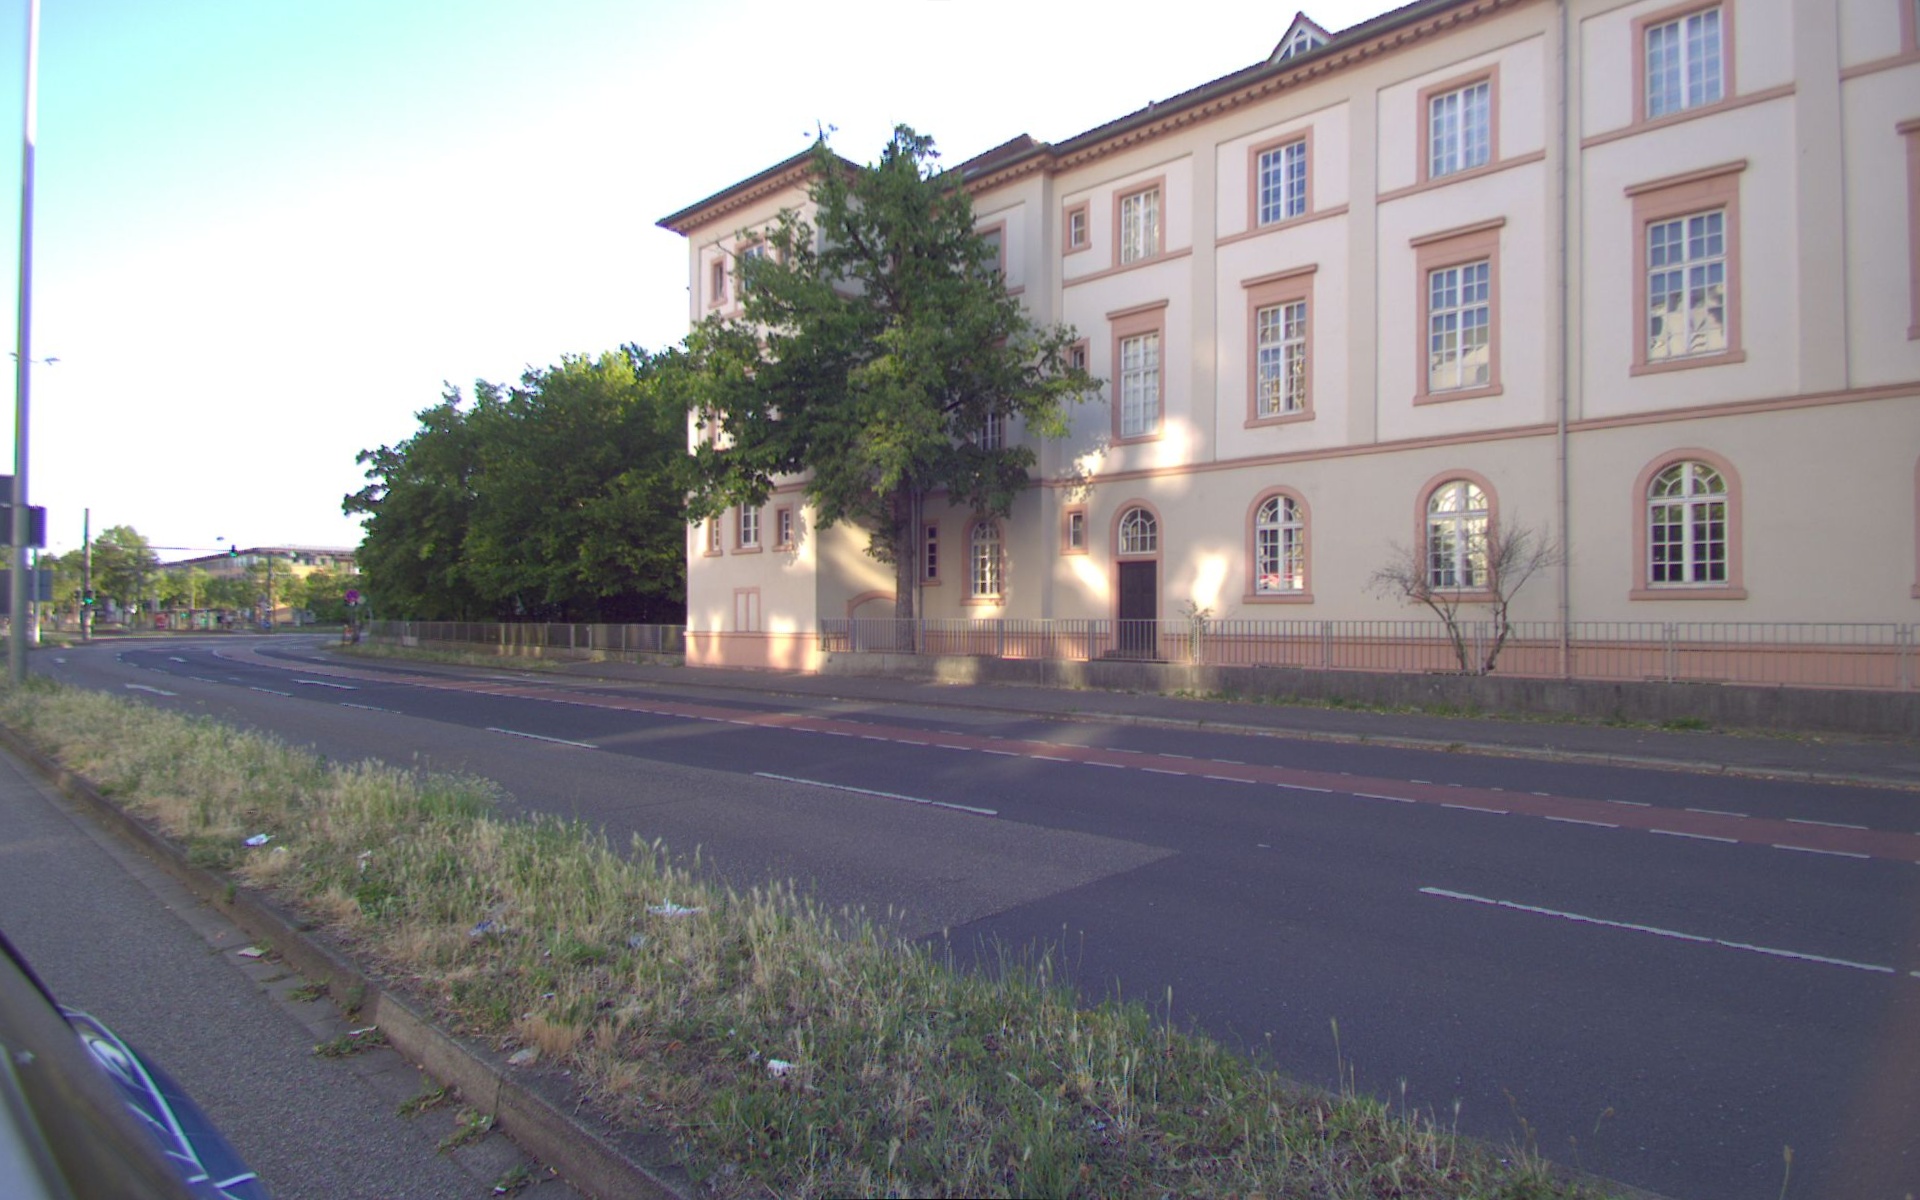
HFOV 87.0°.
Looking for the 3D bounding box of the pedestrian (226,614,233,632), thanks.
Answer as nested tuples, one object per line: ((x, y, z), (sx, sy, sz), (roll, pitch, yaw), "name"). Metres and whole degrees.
((-83.646, 2.612, 115.893), (0.664, 2.029, 0.549), (-1, -2, 41), "pedestrian")

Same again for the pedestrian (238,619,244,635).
((-81.345, 3.058, 114.502), (0.419, 1.718, 0.461), (-1, -2, 41), "pedestrian")
